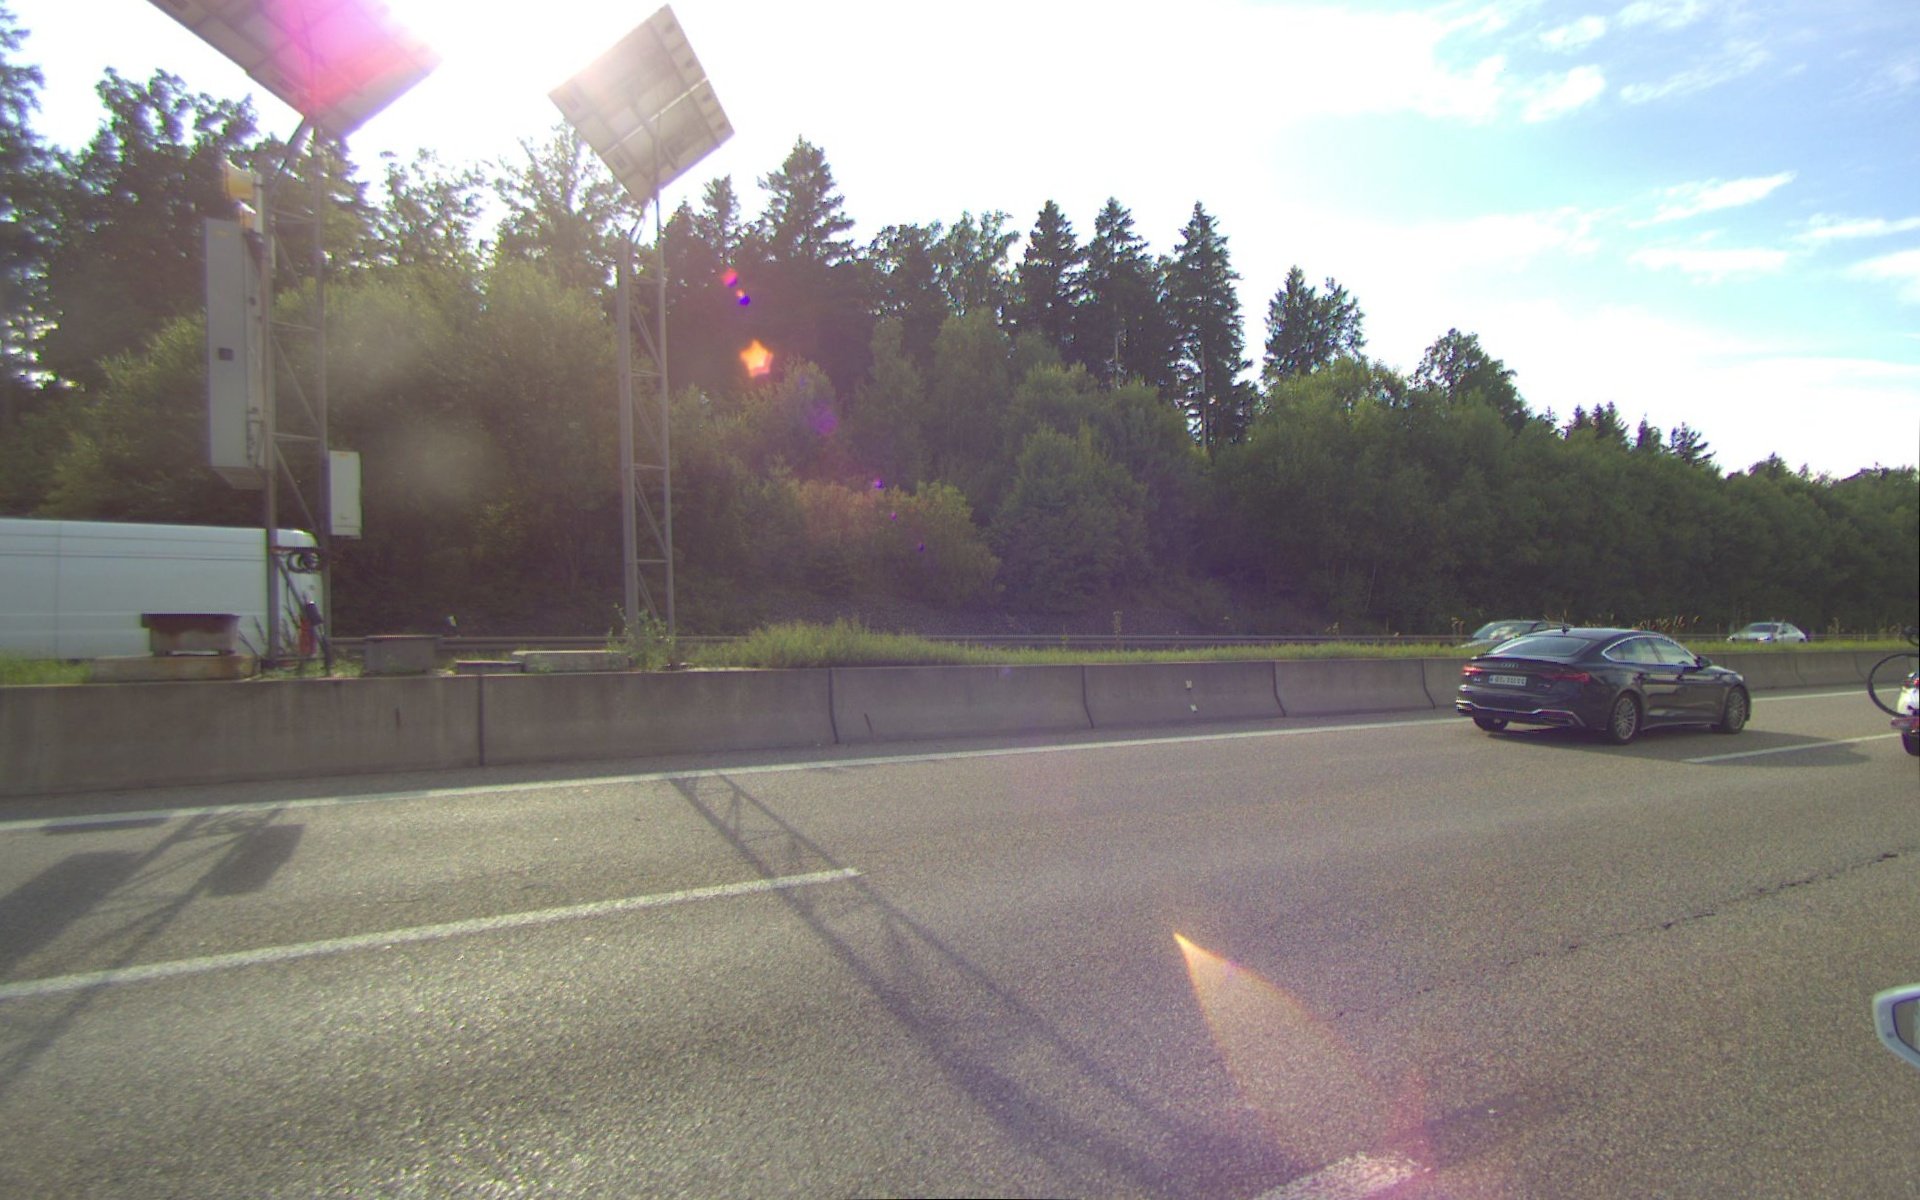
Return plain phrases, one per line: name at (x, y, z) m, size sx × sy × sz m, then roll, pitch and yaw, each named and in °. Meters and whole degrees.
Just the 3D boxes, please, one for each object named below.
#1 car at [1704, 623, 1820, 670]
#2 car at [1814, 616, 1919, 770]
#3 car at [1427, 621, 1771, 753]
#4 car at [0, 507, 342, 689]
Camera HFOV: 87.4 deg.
car at (39.877, 2.249, 49.917) m, size 5.896 × 2.167 × 2.567 m, roll 1°, pitch -1°, yaw -30°
car at (12.061, 0.975, 11.261) m, size 5.668 × 1.519 × 2.050 m, roll 1°, pitch -1°, yaw -30°
car at (8.487, 1.028, 13.229) m, size 4.784 × 1.450 × 1.847 m, roll 1°, pitch -1°, yaw -30°
car at (-12.596, -0.024, 14.025) m, size 6.646 × 2.343 × 2.099 m, roll 1°, pitch 0°, yaw -31°
